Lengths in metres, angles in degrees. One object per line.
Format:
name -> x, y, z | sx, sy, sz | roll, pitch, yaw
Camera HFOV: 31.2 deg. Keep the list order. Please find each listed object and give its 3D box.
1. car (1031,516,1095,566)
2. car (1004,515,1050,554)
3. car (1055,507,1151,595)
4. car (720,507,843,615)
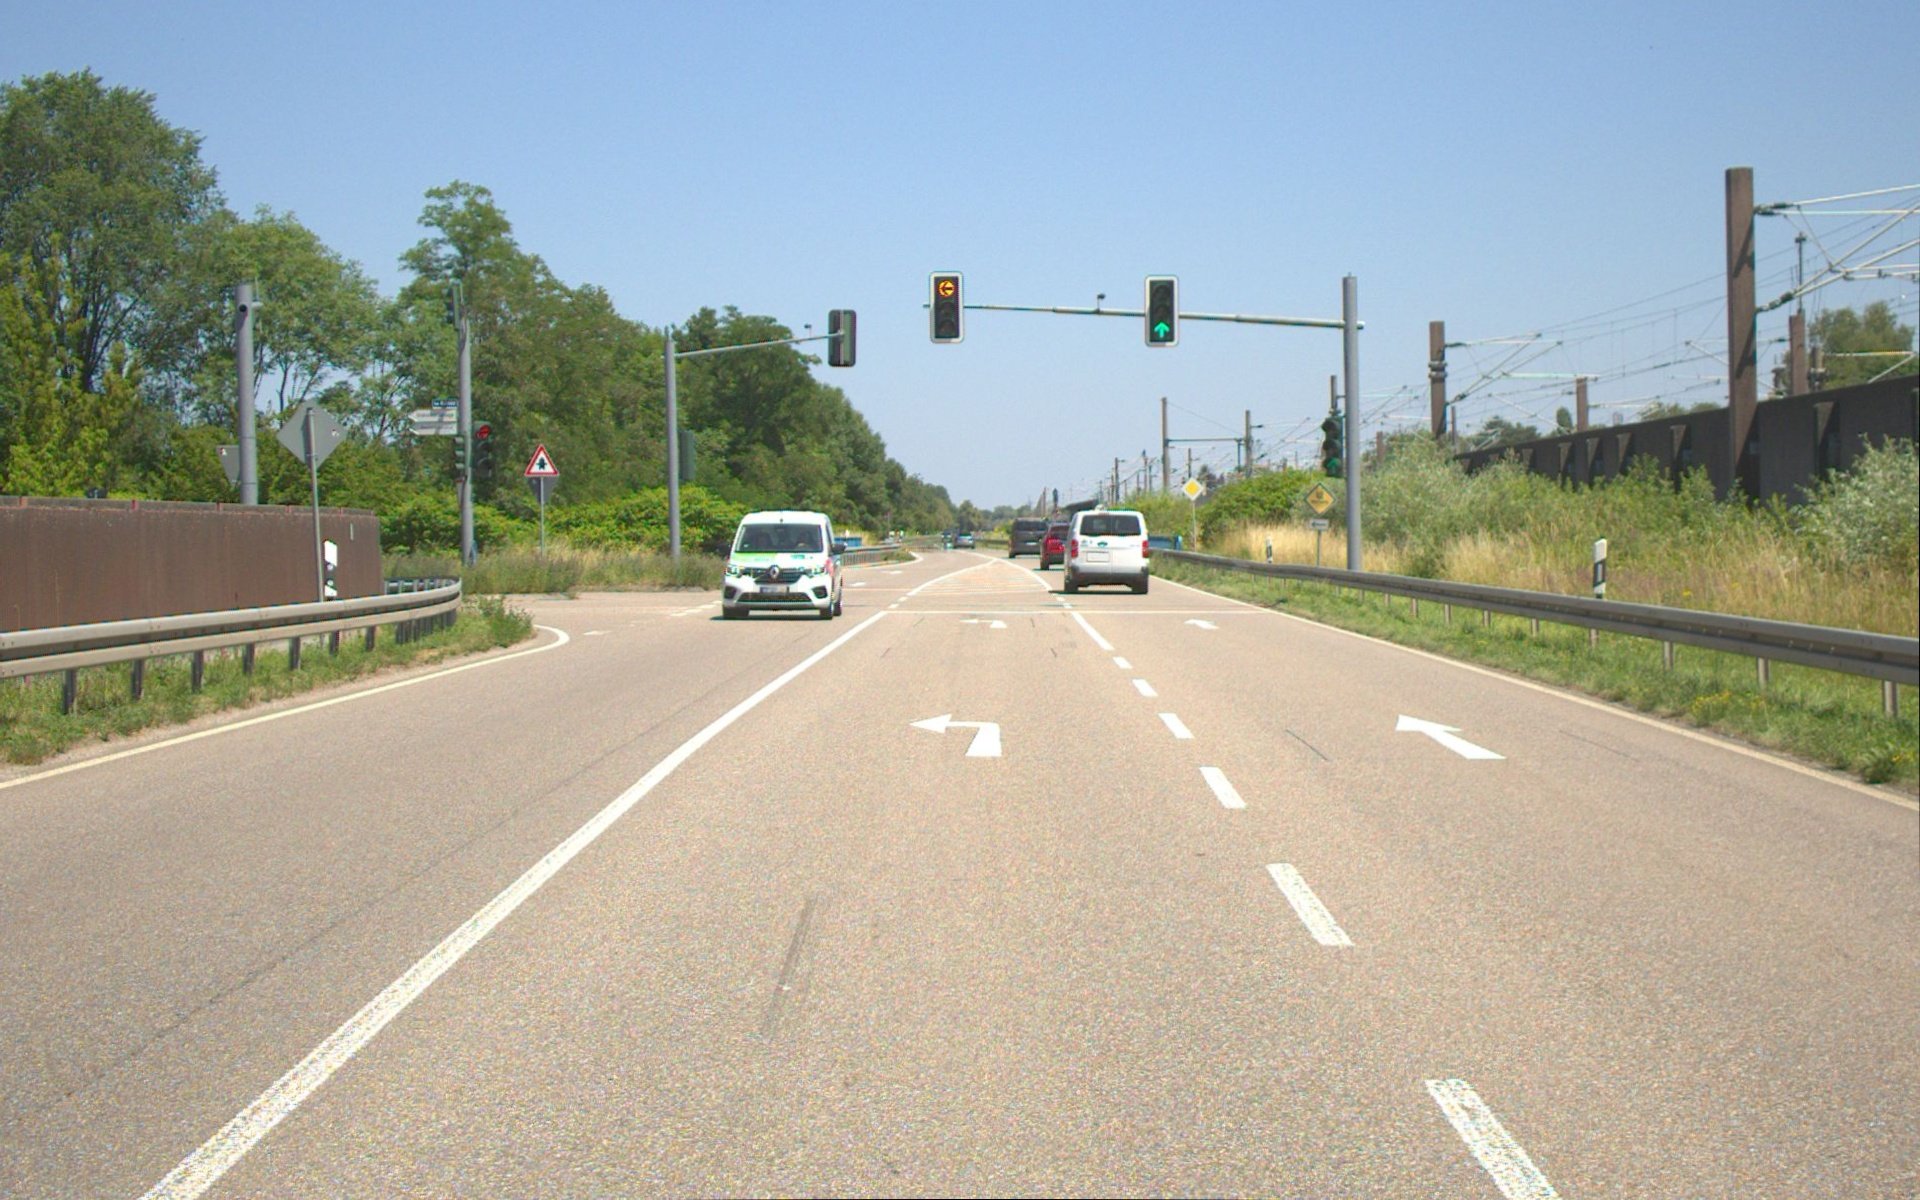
car -> 3.588, -2.082, 120.513 | 2.019, 1.720, 4.543 | 0, 1, -1
car -> 3.411, -3.340, 175.265 | 2.155, 1.961, 4.543 | 0, 1, -1
car -> 3.307, -1.169, 80.152 | 1.993, 1.977, 4.060 | 1, 1, 0
car -> -2.960, -0.677, 57.804 | 1.887, 1.734, 4.777 | 0, 1, -1
